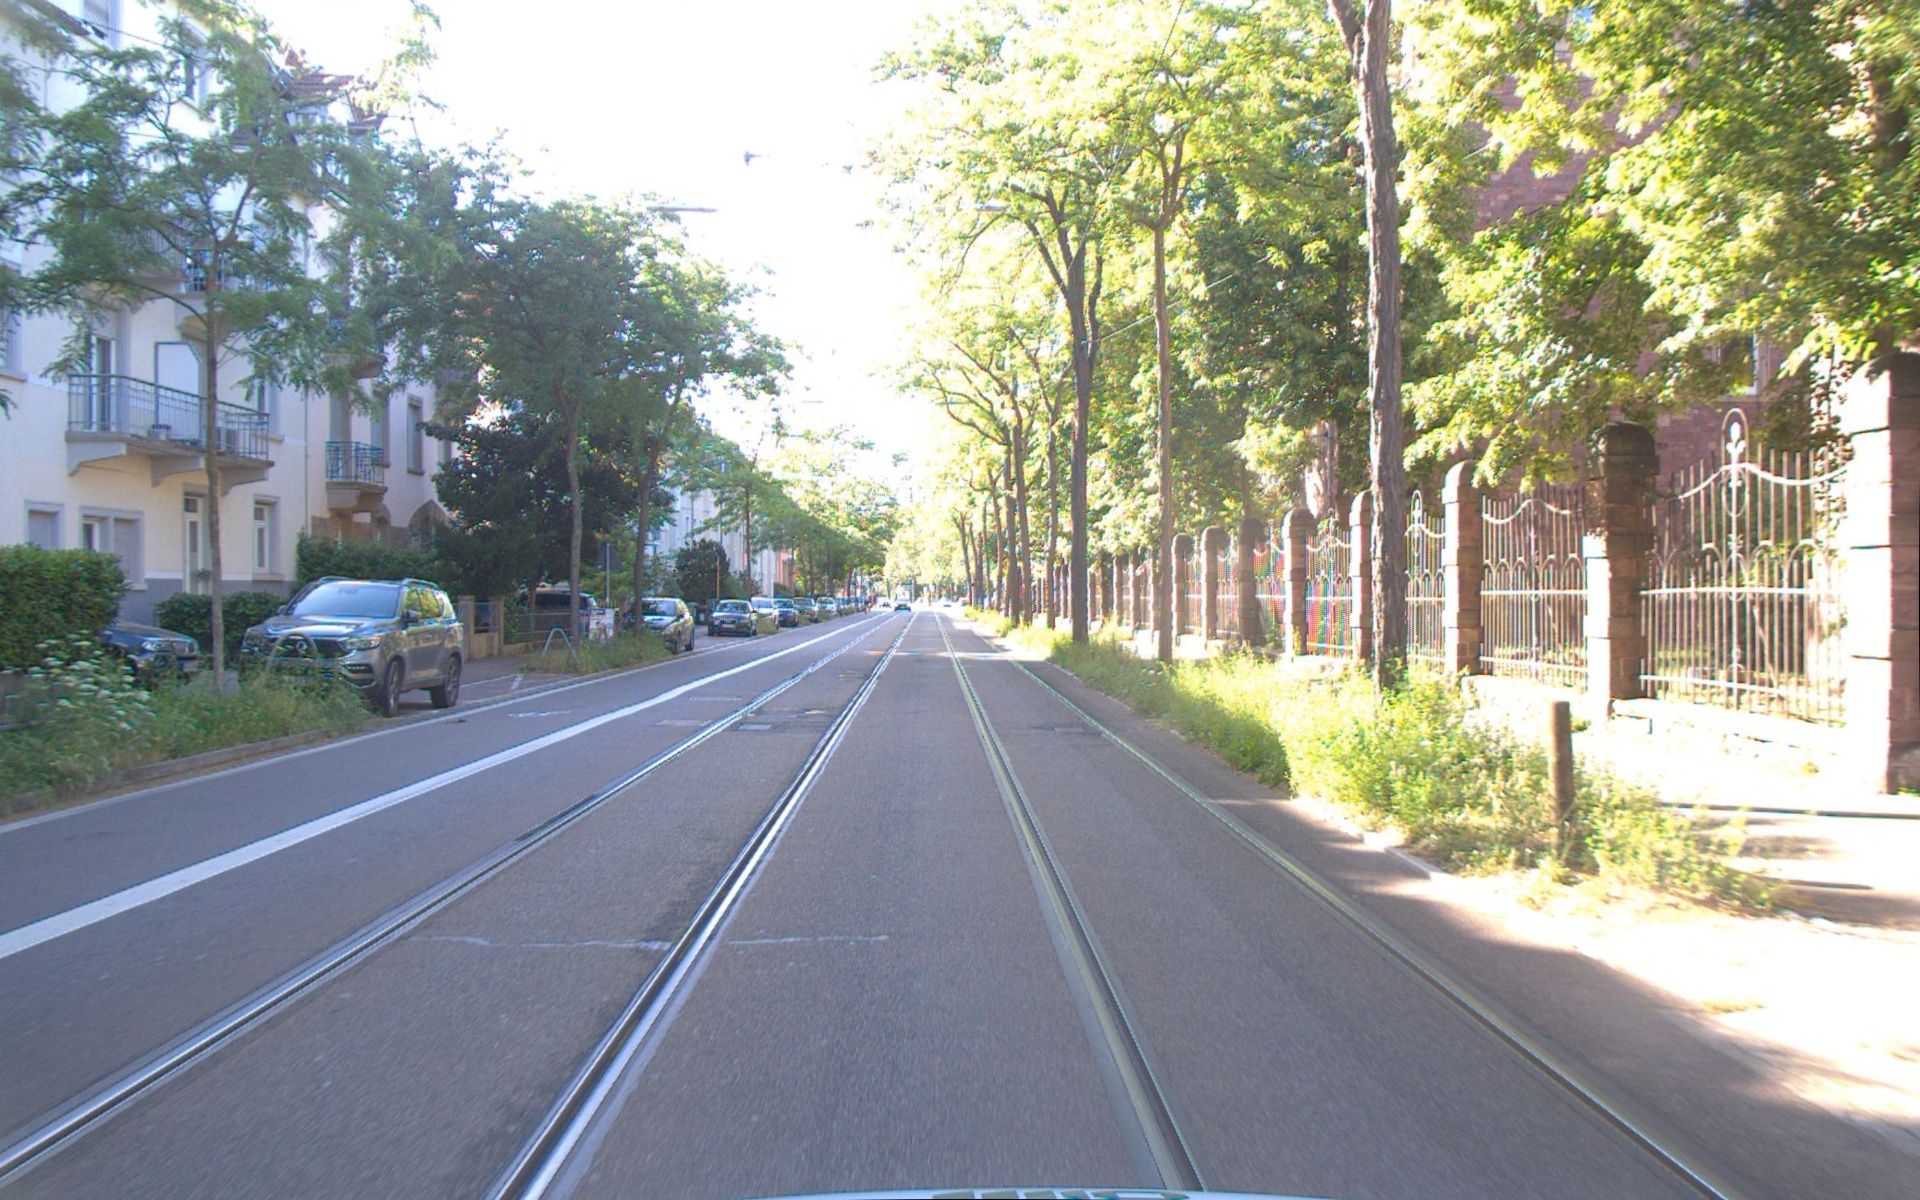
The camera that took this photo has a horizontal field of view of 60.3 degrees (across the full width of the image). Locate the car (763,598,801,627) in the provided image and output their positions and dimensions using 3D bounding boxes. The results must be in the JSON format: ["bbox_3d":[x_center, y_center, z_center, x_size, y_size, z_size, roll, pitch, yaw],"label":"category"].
[{"bbox_3d":[-9.590,0.662,89.483,1.722,1.537,4.436,1,0,-2],"label":"car"}]

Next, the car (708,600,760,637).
[{"bbox_3d":[-9.223,0.722,67.805,1.671,1.431,4.332,1,0,-2],"label":"car"}]

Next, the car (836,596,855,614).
[{"bbox_3d":[-10.132,0.427,146.688,1.529,1.482,3.928,2,0,-3],"label":"car"}]

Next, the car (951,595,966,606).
[{"bbox_3d":[-0.206,0.135,246.632,1.905,1.638,3.995,0,0,-6],"label":"car"}]

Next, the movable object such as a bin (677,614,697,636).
[{"bbox_3d":[-13.717,1.255,83.091,0.827,1.064,0.733,2,0,2],"label":"movable object such as a bin"}]

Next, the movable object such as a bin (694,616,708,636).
[{"bbox_3d":[-13.011,1.294,83.063,0.548,0.992,0.733,2,0,2],"label":"movable object such as a bin"}]

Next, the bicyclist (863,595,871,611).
[{"bbox_3d":[-9.440,0.299,167.940,0.613,1.667,0.940,-3,0,-1],"label":"bicyclist"}]

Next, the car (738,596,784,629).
[{"bbox_3d":[-9.509,0.575,79.281,1.780,1.537,4.369,1,0,-2],"label":"car"}]

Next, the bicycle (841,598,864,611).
[{"bbox_3d":[-10.794,0.418,165.899,2.236,1.219,0.560,2,1,5],"label":"bicycle"}]

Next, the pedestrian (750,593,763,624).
[{"bbox_3d":[-12.126,0.509,98.680,0.677,1.833,0.813,-1,0,-1],"label":"pedestrian"}]

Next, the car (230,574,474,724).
[{"bbox_3d":[-8.281,0.612,23.009,1.833,1.855,4.768,1,0,-3],"label":"car"}]

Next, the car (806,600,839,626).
[{"bbox_3d":[-8.525,0.784,102.801,1.780,1.511,4.205,1,0,-1],"label":"car"}]

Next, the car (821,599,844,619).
[{"bbox_3d":[-10.536,0.738,136.706,1.653,1.511,3.758,2,0,-2],"label":"car"}]

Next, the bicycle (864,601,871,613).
[{"bbox_3d":[-9.423,0.729,168.005,0.614,1.198,1.912,-3,0,-1],"label":"bicycle"}]

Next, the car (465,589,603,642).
[{"bbox_3d":[-14.089,0.504,54.902,4.082,1.688,1.982,1,0,-3],"label":"car"}]

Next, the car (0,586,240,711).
[{"bbox_3d":[-13.126,0.671,24.279,4.212,1.690,1.953,1,0,0],"label":"car"}]

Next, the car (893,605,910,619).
[{"bbox_3d":[-6.163,1.282,173.915,1.722,1.464,4.521,0,0,-2],"label":"car"}]

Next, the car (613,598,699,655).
[{"bbox_3d":[-8.863,0.731,48.559,1.740,1.568,4.484,1,0,-1],"label":"car"}]

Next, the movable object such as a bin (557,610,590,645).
[{"bbox_3d":[-12.284,0.866,52.530,0.857,1.084,0.814,0,0,-1],"label":"movable object such as a bin"}]
